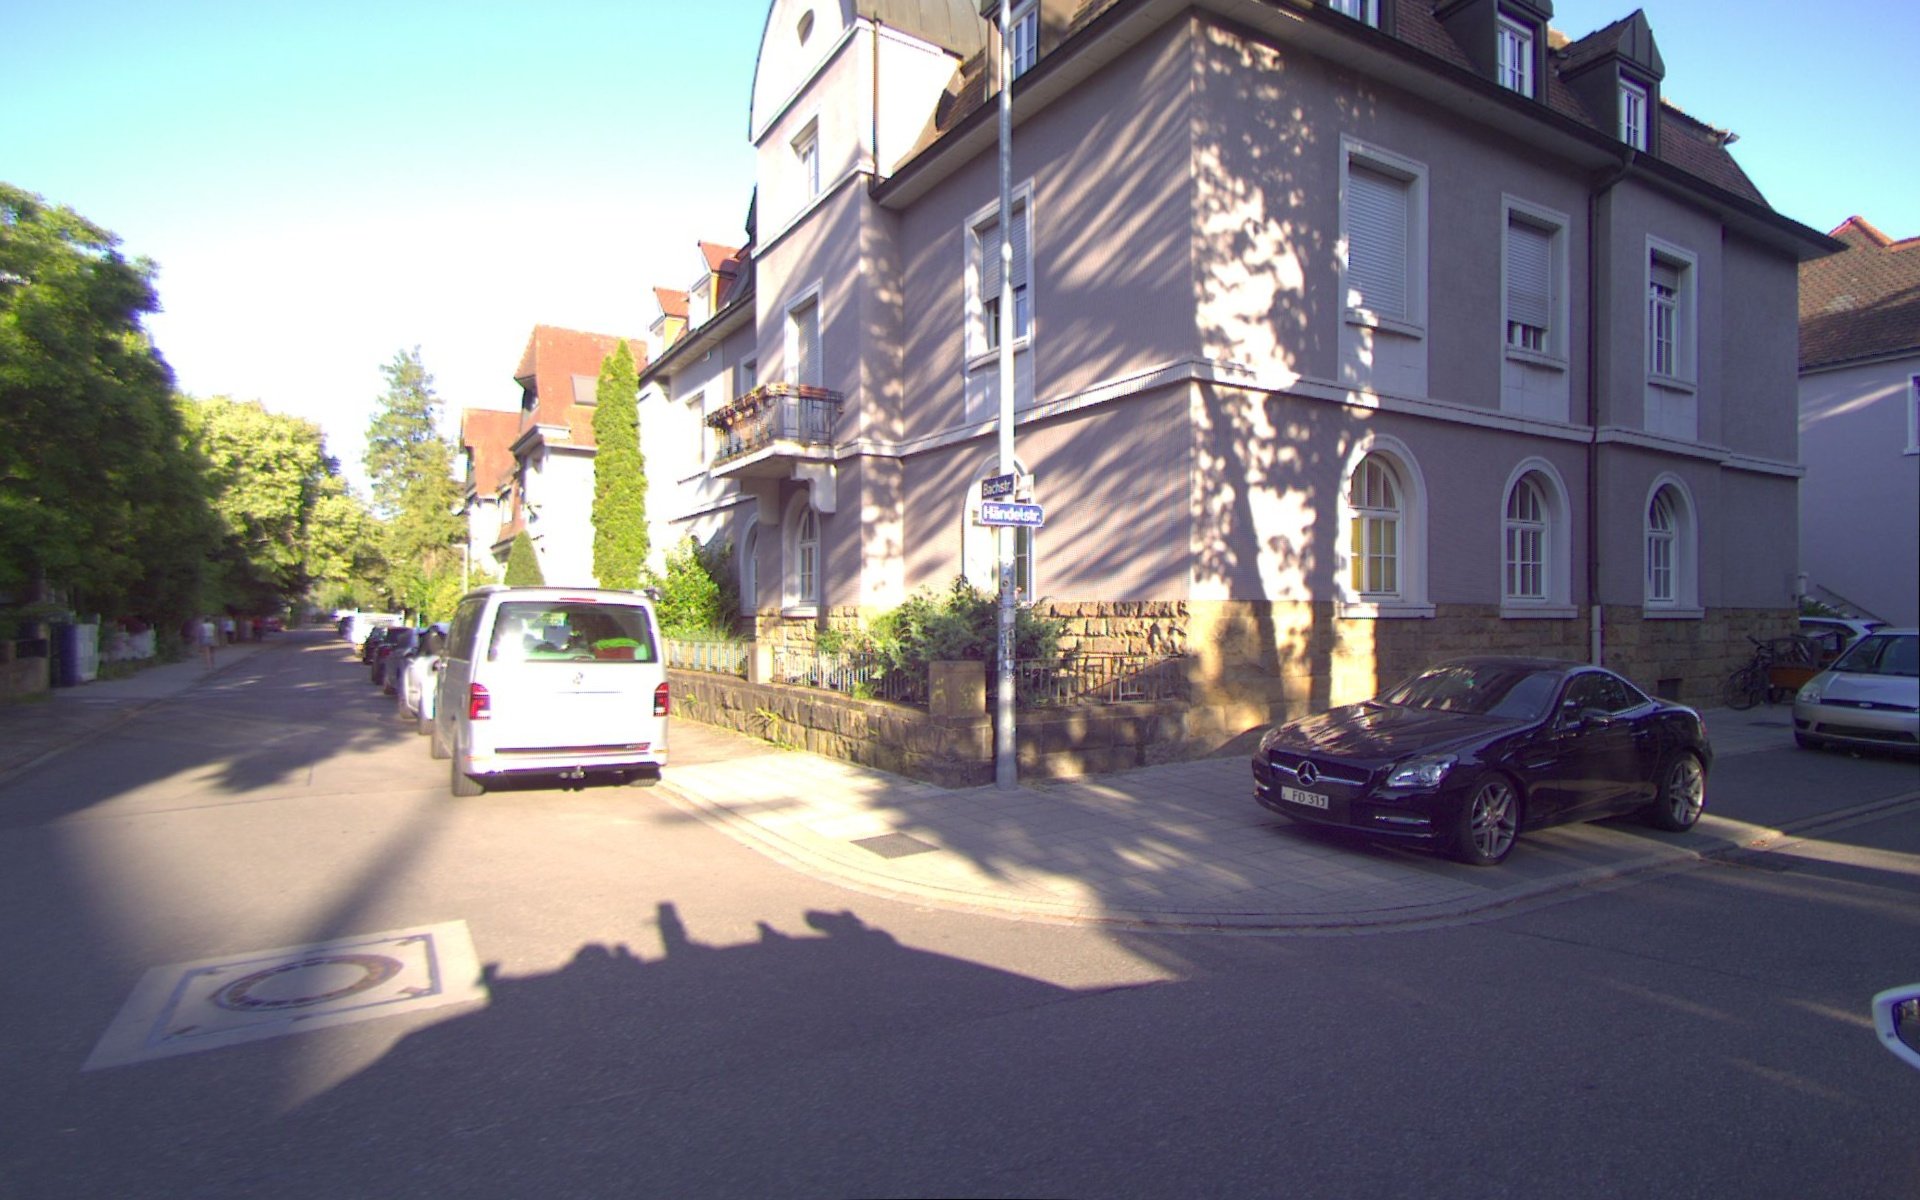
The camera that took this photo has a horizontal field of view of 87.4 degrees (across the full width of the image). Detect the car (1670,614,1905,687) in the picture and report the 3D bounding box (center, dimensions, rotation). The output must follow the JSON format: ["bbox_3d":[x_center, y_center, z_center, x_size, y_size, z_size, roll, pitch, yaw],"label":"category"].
[{"bbox_3d":[18.632,1.066,22.775,1.618,1.463,3.840,-1,0,-33],"label":"car"}]

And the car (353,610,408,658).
[{"bbox_3d":[-25.457,1.479,44.061,1.894,1.974,4.162,3,-2,-32],"label":"car"}]

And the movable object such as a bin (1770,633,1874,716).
[{"bbox_3d":[14.774,1.243,17.202,2.071,1.301,0.718,0,0,-30],"label":"movable object such as a bin"}]

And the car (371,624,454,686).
[{"bbox_3d":[-14.637,1.434,26.763,1.647,1.487,4.162,3,-2,-32],"label":"car"}]

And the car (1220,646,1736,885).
[{"bbox_3d":[4.136,1.105,7.910,3.995,1.341,1.647,0,1,-28],"label":"car"}]

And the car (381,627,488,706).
[{"bbox_3d":[-11.240,1.350,21.359,1.647,1.487,4.162,3,-2,-32],"label":"car"}]

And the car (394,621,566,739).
[{"bbox_3d":[-7.824,1.175,16.151,1.978,1.608,4.268,3,-2,-32],"label":"car"}]

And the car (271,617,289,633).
[{"bbox_3d":[-80.939,2.940,119.539,1.678,1.862,3.842,0,-1,-35],"label":"car"}]

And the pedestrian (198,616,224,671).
[{"bbox_3d":[-25.109,1.449,33.664,0.656,1.803,0.585,0,-1,-33],"label":"pedestrian"}]

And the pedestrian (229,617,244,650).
[{"bbox_3d":[-39.820,1.849,55.272,0.656,1.803,0.585,0,-1,-33],"label":"pedestrian"}]

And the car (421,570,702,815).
[{"bbox_3d":[-4.458,0.845,10.782,1.978,2.040,4.376,3,-2,-32],"label":"car"}]

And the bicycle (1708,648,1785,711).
[{"bbox_3d":[12.930,1.288,16.500,1.702,0.949,0.392,0,0,-31],"label":"bicycle"}]

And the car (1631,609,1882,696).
[{"bbox_3d":[16.909,1.035,21.490,1.877,1.643,3.840,-1,0,-33],"label":"car"}]

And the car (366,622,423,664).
[{"bbox_3d":[-21.780,1.644,38.611,1.647,1.487,4.162,3,-2,-32],"label":"car"}]

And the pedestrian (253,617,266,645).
[{"bbox_3d":[-46.201,2.047,66.279,0.656,1.803,0.585,0,-1,-33],"label":"pedestrian"}]

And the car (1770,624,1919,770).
[{"bbox_3d":[11.681,1.074,12.130,3.912,1.465,1.646,0,1,-30],"label":"car"}]
